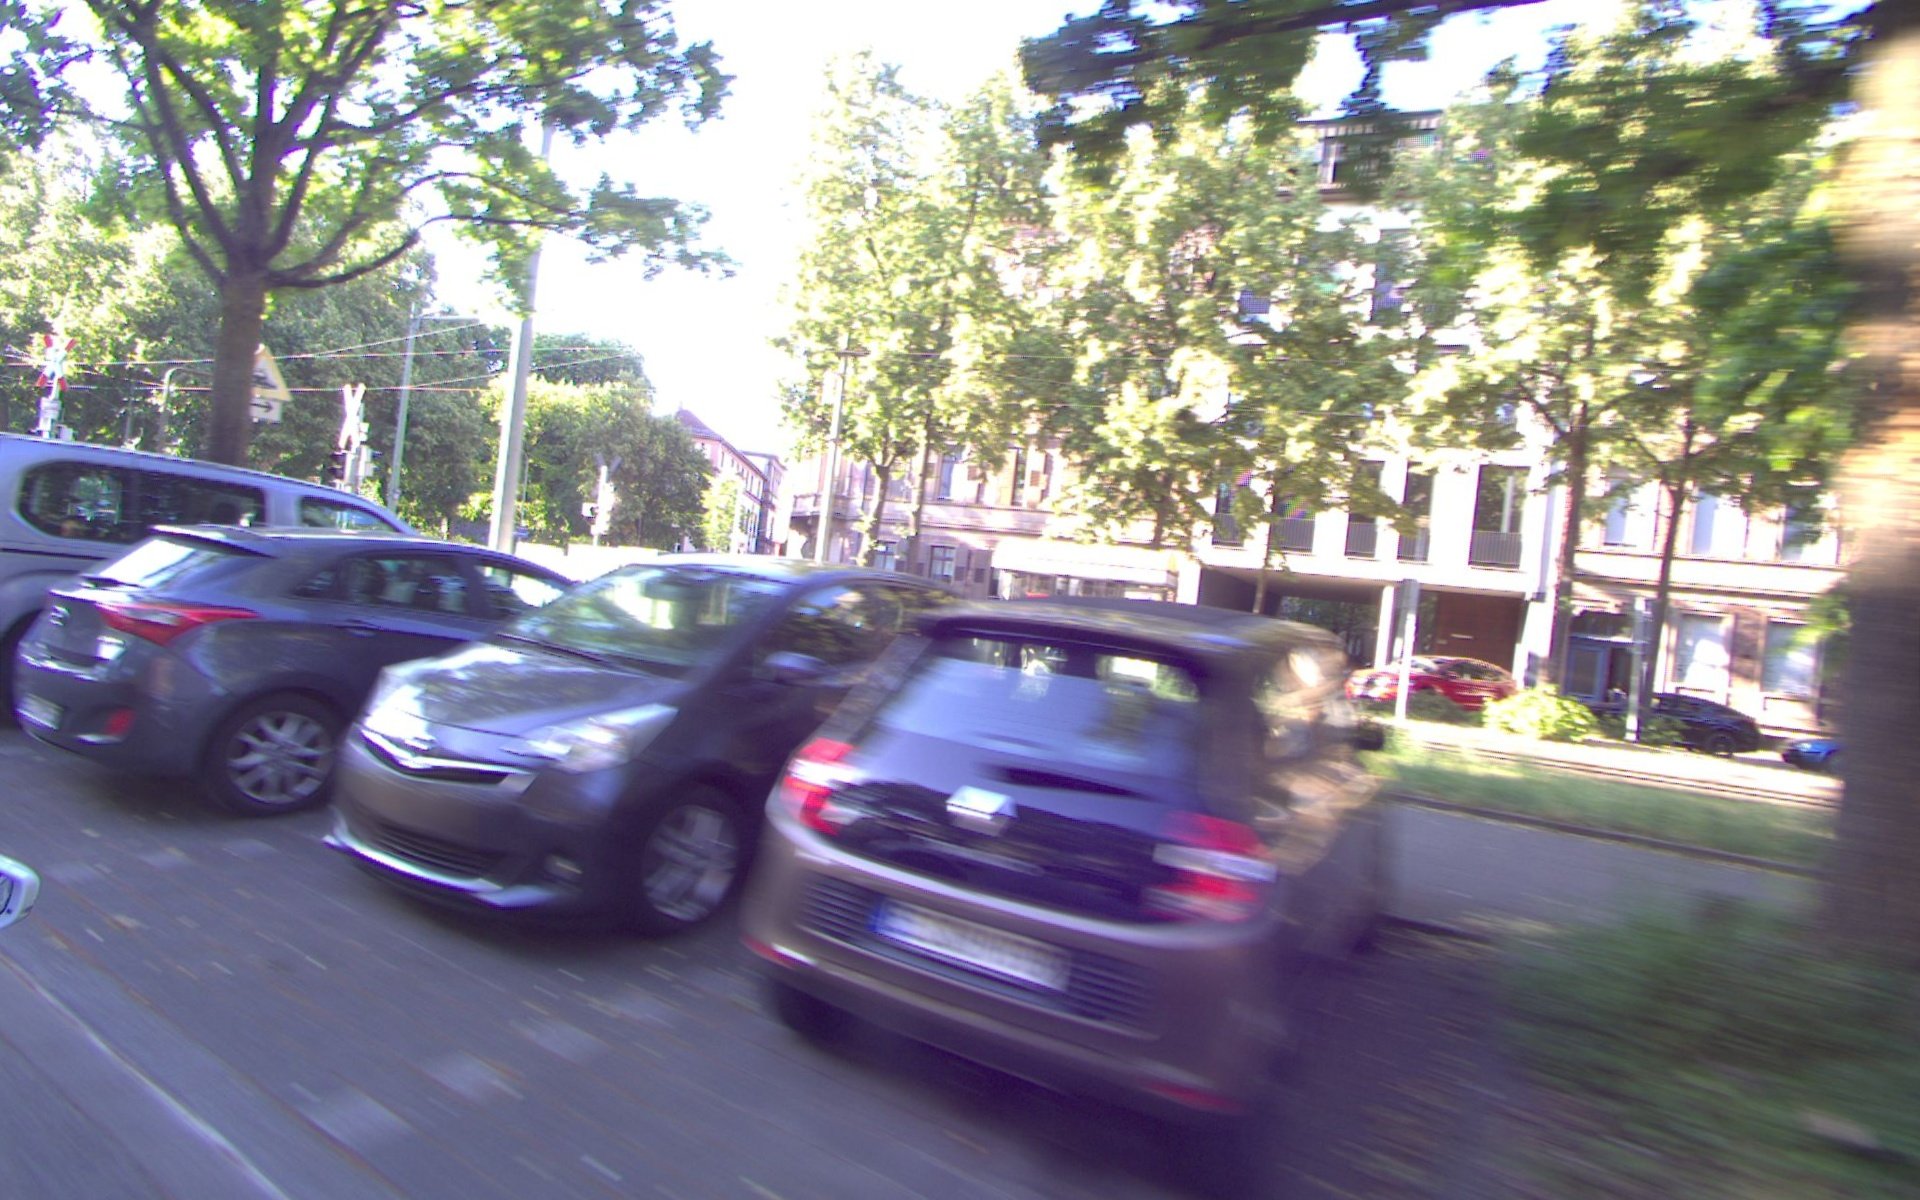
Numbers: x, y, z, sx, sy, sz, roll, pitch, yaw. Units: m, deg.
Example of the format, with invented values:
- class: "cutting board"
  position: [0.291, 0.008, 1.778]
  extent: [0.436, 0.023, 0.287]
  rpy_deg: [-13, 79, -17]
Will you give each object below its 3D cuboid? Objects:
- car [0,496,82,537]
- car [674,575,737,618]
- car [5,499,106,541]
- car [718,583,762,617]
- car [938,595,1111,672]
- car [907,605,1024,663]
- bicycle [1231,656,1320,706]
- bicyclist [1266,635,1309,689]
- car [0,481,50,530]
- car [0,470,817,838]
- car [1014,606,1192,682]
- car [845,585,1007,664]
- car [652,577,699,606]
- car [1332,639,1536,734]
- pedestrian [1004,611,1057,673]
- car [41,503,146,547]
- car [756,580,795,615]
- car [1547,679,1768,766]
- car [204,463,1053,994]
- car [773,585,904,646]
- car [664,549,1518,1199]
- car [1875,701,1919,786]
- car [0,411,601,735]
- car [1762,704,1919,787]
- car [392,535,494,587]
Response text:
- class: "car"
  position: [-51.082, -4.624, 55.427]
  extent: [3.803, 1.604, 1.720]
  rpy_deg: [11, -4, -39]
- class: "car"
  position: [-12.115, -0.132, 48.204]
  extent: [1.888, 1.675, 4.186]
  rpy_deg: [10, -1, -2]
- class: "car"
  position: [-48.424, -4.249, 53.963]
  extent: [3.803, 1.436, 1.720]
  rpy_deg: [11, -5, -39]
- class: "car"
  position: [-12.774, 0.008, 58.582]
  extent: [1.772, 1.633, 3.953]
  rpy_deg: [9, -1, -4]
- class: "car"
  position: [1.829, 0.957, 27.818]
  extent: [4.513, 1.655, 1.910]
  rpy_deg: [6, 0, -37]
- class: "car"
  position: [0.217, 1.215, 35.937]
  extent: [3.656, 1.506, 1.744]
  rpy_deg: [7, -3, 23]
- class: "bicycle"
  position: [8.824, 2.248, 28.133]
  extent: [2.214, 1.099, 0.779]
  rpy_deg: [6, 0, 21]
- class: "bicyclist"
  position: [9.132, 1.730, 28.053]
  extent: [0.961, 1.371, 0.779]
  rpy_deg: [7, 1, 21]
- class: "car"
  position: [-58.231, -5.908, 60.639]
  extent: [4.451, 2.503, 1.808]
  rpy_deg: [9, -4, -28]
- class: "car"
  position: [-3.264, 0.342, 6.764]
  extent: [1.919, 1.591, 4.542]
  rpy_deg: [5, -1, 34]
- class: "car"
  position: [3.810, 1.178, 26.383]
  extent: [4.513, 1.505, 1.910]
  rpy_deg: [6, 0, -37]
- class: "car"
  position: [-0.919, 0.734, 28.960]
  extent: [4.388, 1.707, 1.723]
  rpy_deg: [9, -2, -40]
- class: "car"
  position: [-18.160, -0.538, 64.471]
  extent: [1.799, 1.463, 3.931]
  rpy_deg: [10, -1, -2]
- class: "car"
  position: [11.190, 2.038, 23.690]
  extent: [4.499, 1.743, 1.916]
  rpy_deg: [6, 0, -28]
- class: "pedestrian"
  position: [1.612, 0.958, 22.944]
  extent: [0.861, 1.288, 0.824]
  rpy_deg: [6, 0, 24]
- class: "car"
  position: [-43.593, -3.741, 50.699]
  extent: [3.803, 1.406, 1.720]
  rpy_deg: [11, -5, -39]
- class: "car"
  position: [-12.726, -0.156, 69.583]
  extent: [1.771, 2.097, 3.954]
  rpy_deg: [9, -1, -2]
- class: "car"
  position: [18.909, 3.277, 27.555]
  extent: [4.509, 1.587, 1.999]
  rpy_deg: [6, 0, 23]
- class: "car"
  position: [-1.226, 0.512, 5.726]
  extent: [1.916, 1.711, 4.446]
  rpy_deg: [5, -1, 26]
- class: "car"
  position: [-4.570, 0.576, 37.962]
  extent: [4.417, 1.668, 1.876]
  rpy_deg: [6, -3, 24]
- class: "car"
  position: [1.164, 0.874, 4.560]
  extent: [1.919, 1.591, 4.542]
  rpy_deg: [5, -1, 34]
- class: "car"
  position: [19.897, 2.950, 19.766]
  extent: [4.240, 1.505, 1.793]
  rpy_deg: [6, 0, -34]
- class: "car"
  position: [-5.513, -0.072, 8.139]
  extent: [1.919, 1.937, 4.542]
  rpy_deg: [5, -1, 34]
- class: "car"
  position: [23.638, 3.807, 25.867]
  extent: [4.163, 1.587, 2.000]
  rpy_deg: [6, 0, 19]
- class: "car"
  position: [-25.729, -1.928, 50.045]
  extent: [4.575, 2.028, 1.949]
  rpy_deg: [6, 0, 24]
